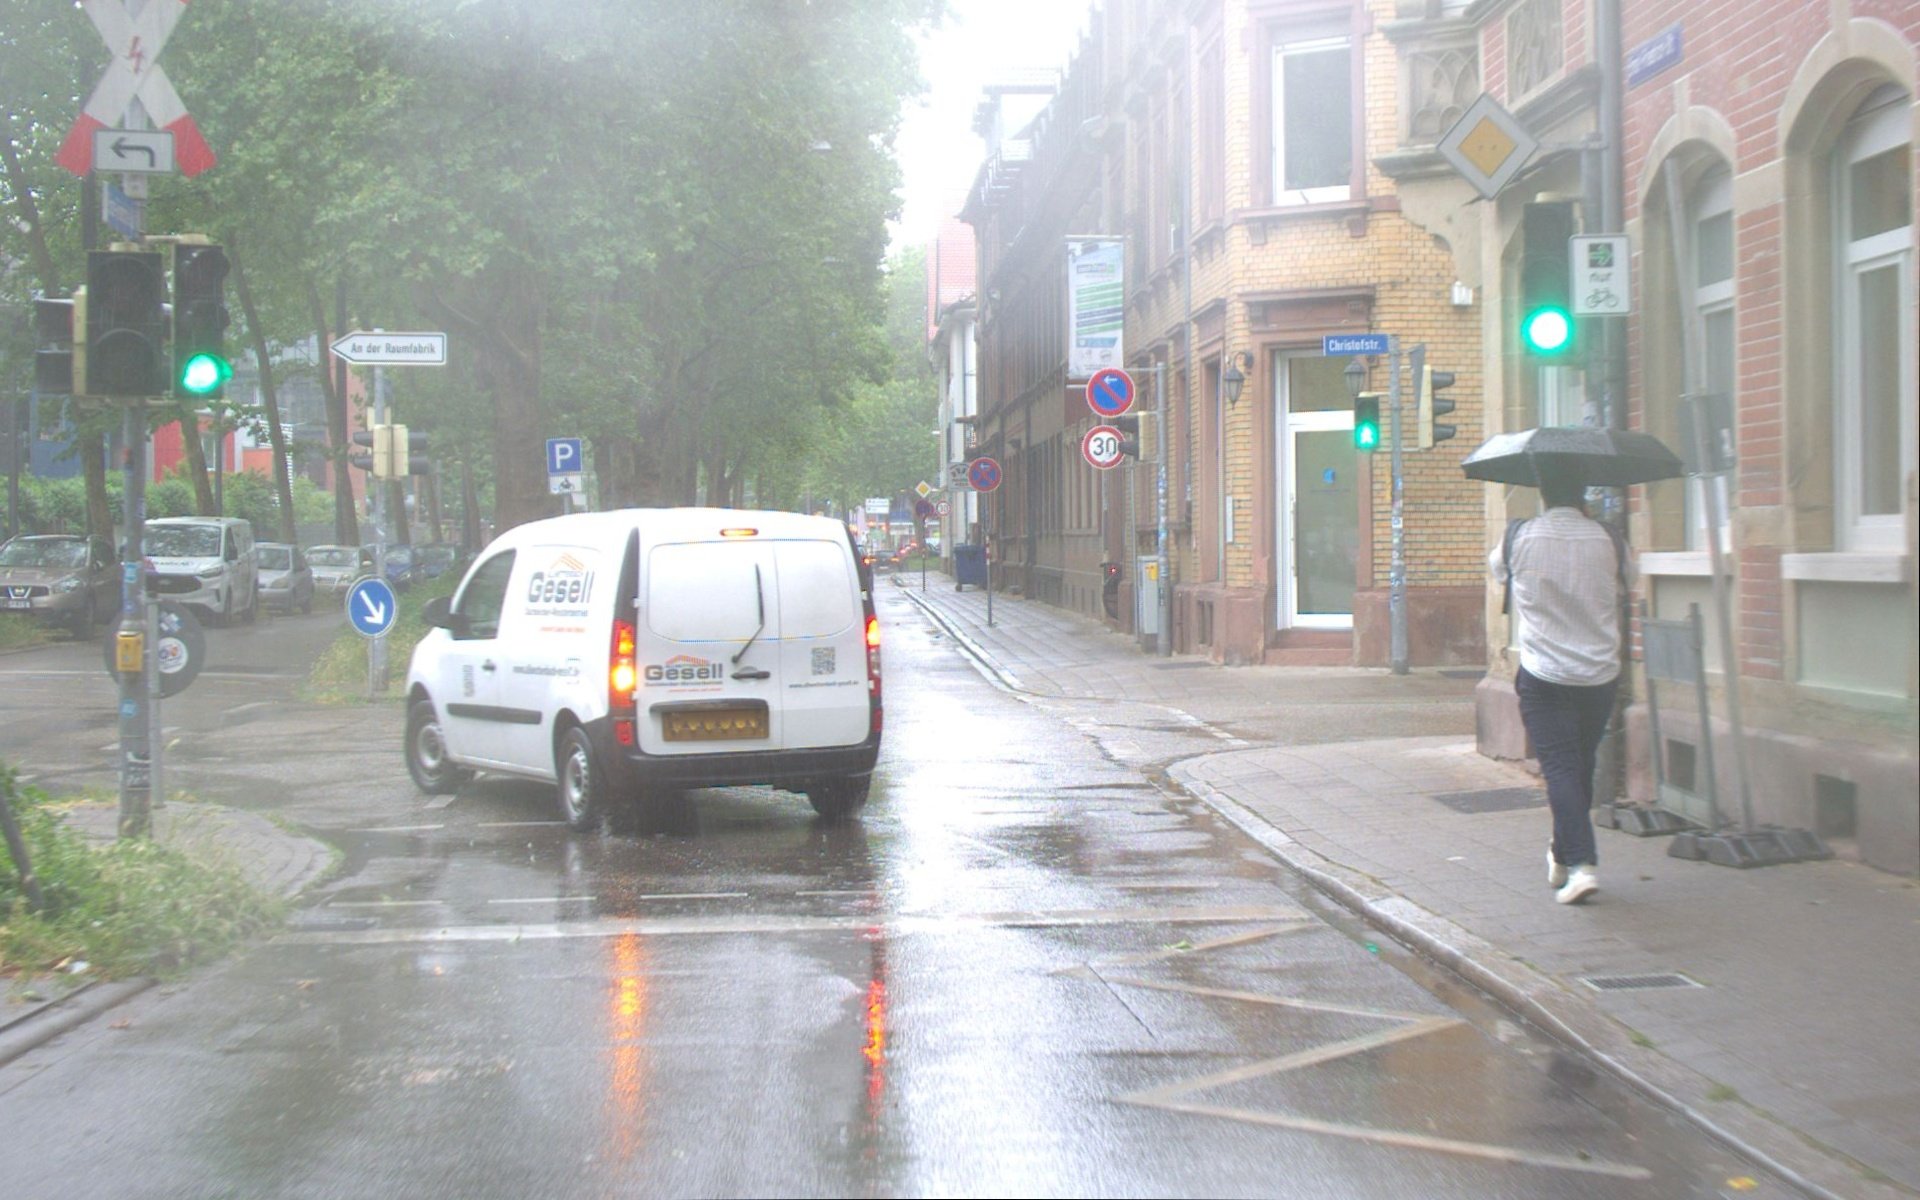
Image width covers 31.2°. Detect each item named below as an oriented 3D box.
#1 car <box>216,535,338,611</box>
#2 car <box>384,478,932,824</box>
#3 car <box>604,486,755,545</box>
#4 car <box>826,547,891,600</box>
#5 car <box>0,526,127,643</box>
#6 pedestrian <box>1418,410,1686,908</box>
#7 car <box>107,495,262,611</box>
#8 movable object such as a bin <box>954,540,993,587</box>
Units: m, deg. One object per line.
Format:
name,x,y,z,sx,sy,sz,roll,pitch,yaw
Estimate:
car,-14.129,-0.582,71.331,1.904,1.529,4.216,0,1,-3
car,-1.921,0.227,20.577,1.932,1.843,4.067,0,1,-26
car,-10.179,-3.052,124.793,5.123,1.971,2.099,-1,1,29
car,-3.225,-0.837,108.983,1.993,1.634,4.000,1,1,-2
car,-14.130,-0.254,52.600,1.873,1.722,4.000,1,1,-1
pedestrian,2.382,0.226,13.940,0.785,1.907,0.930,-4,1,-2
car,-14.252,-0.880,63.451,2.053,1.990,5.435,2,1,-5
movable object such as a bin,0.387,-1.064,100.251,1.021,1.297,1.367,-4,2,-2
